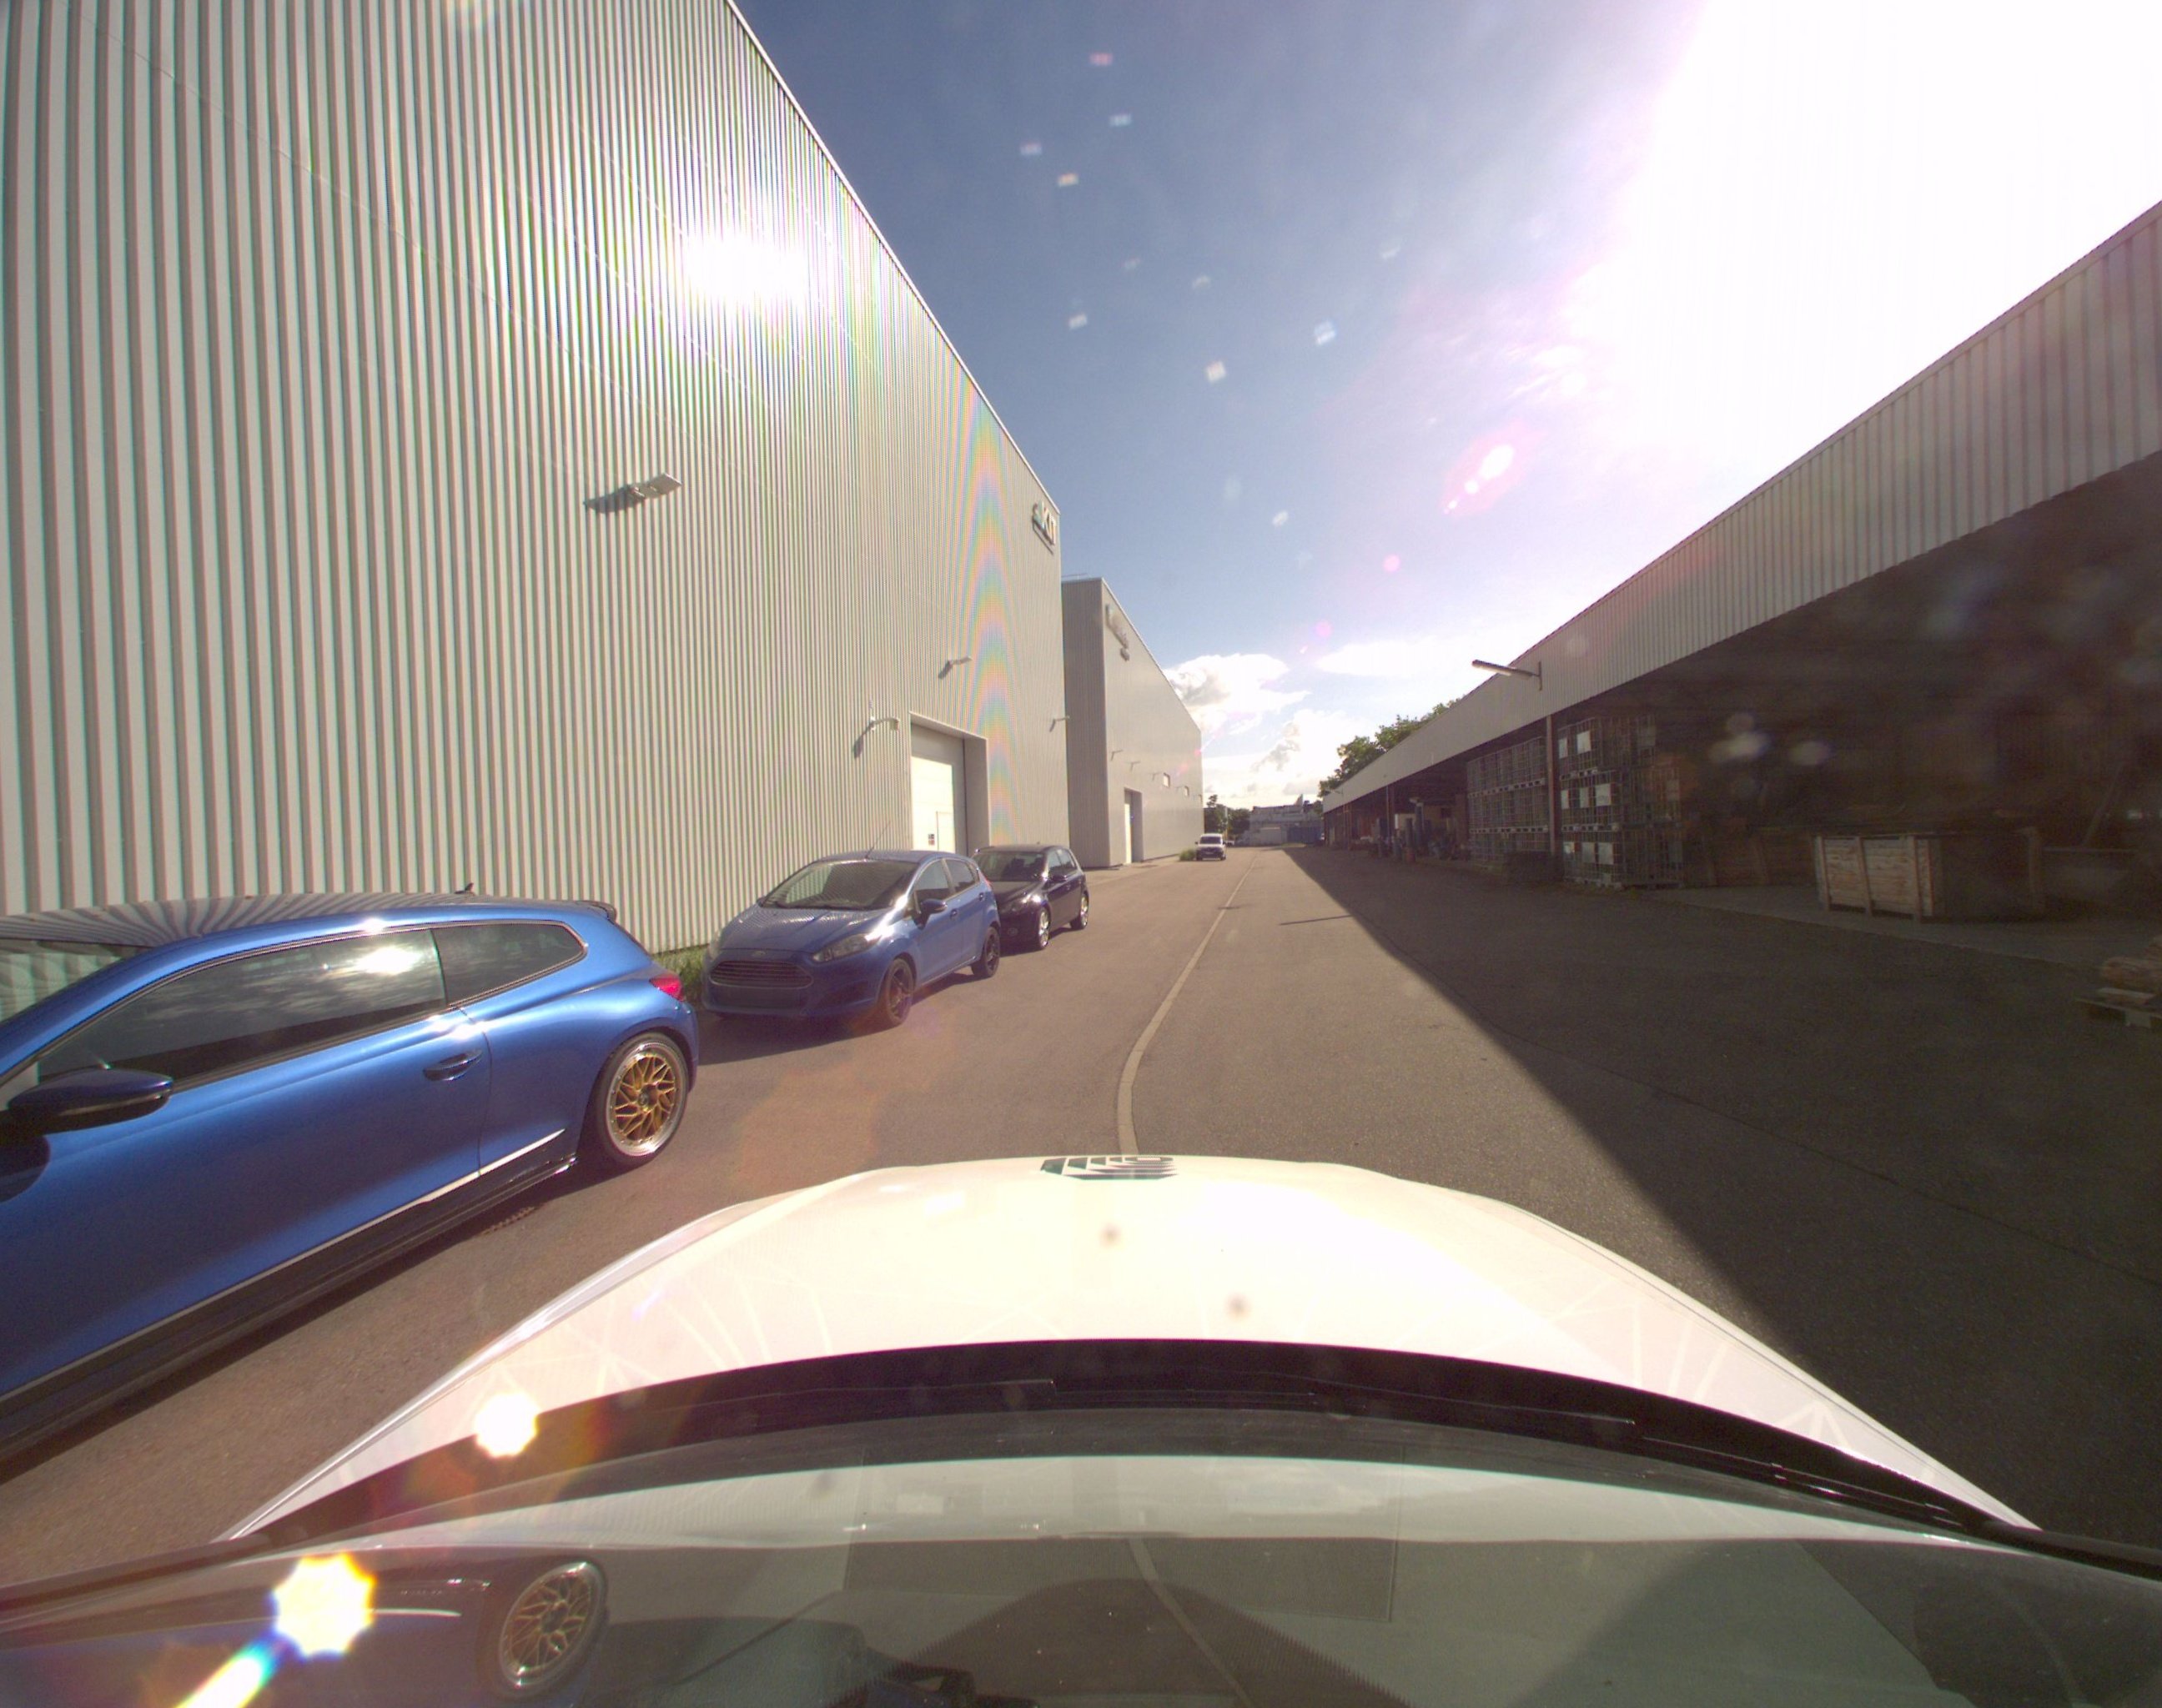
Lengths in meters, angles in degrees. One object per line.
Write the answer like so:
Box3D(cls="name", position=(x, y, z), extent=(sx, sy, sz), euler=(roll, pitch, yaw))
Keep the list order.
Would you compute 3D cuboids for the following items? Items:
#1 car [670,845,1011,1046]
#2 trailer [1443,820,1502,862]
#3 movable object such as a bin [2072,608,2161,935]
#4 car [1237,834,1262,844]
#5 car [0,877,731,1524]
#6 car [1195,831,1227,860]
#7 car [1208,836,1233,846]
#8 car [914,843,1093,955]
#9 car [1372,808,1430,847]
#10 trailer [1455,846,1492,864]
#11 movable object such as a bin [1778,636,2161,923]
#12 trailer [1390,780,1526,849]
Box3D(cls="car", position=(-2.024, 0.681, 8.068), extent=(1.609, 1.447, 3.777), euler=(-1, 1, 11))
Box3D(cls="trailer", position=(14.898, -0.506, 31.091), extent=(1.536, 1.518, 1.918), euler=(0, 3, 8))
Box3D(cls="movable object such as a bin", position=(12.575, -0.880, 6.009), extent=(6.310, 2.905, 2.695), euler=(-3, 0, 12))
Box3D(cls="car", position=(27.738, -2.485, 133.856), extent=(3.856, 1.461, 1.630), euler=(-2, 1, 15))
Box3D(cls="car", position=(-3.161, 0.856, 2.687), extent=(1.657, 1.350, 3.967), euler=(-1, 1, 12))
Box3D(cls="car", position=(8.779, -0.608, 54.787), extent=(1.895, 1.793, 4.013), euler=(-2, 1, 11))
Box3D(cls="car", position=(23.293, -2.110, 135.961), extent=(3.859, 1.461, 1.629), euler=(-2, 1, 12))
Box3D(cls="car", position=(-1.038, 0.568, 12.881), extent=(1.639, 1.446, 3.892), euler=(1, 1, 13))
Box3D(cls="car", position=(22.432, -1.833, 57.233), extent=(3.480, 2.441, 2.008), euler=(-3, 0, 13))
Box3D(cls="trailer", position=(13.537, 0.027, 28.086), extent=(0.965, 0.567, 0.734), euler=(0, 3, 8))
Box3D(cls="movable object such as a bin", position=(12.987, -0.927, 9.466), extent=(6.888, 2.905, 2.695), euler=(-3, 0, 12))
Box3D(cls="trailer", position=(21.155, -2.185, 46.057), extent=(6.346, 3.370, 2.834), euler=(-3, 0, 12))
